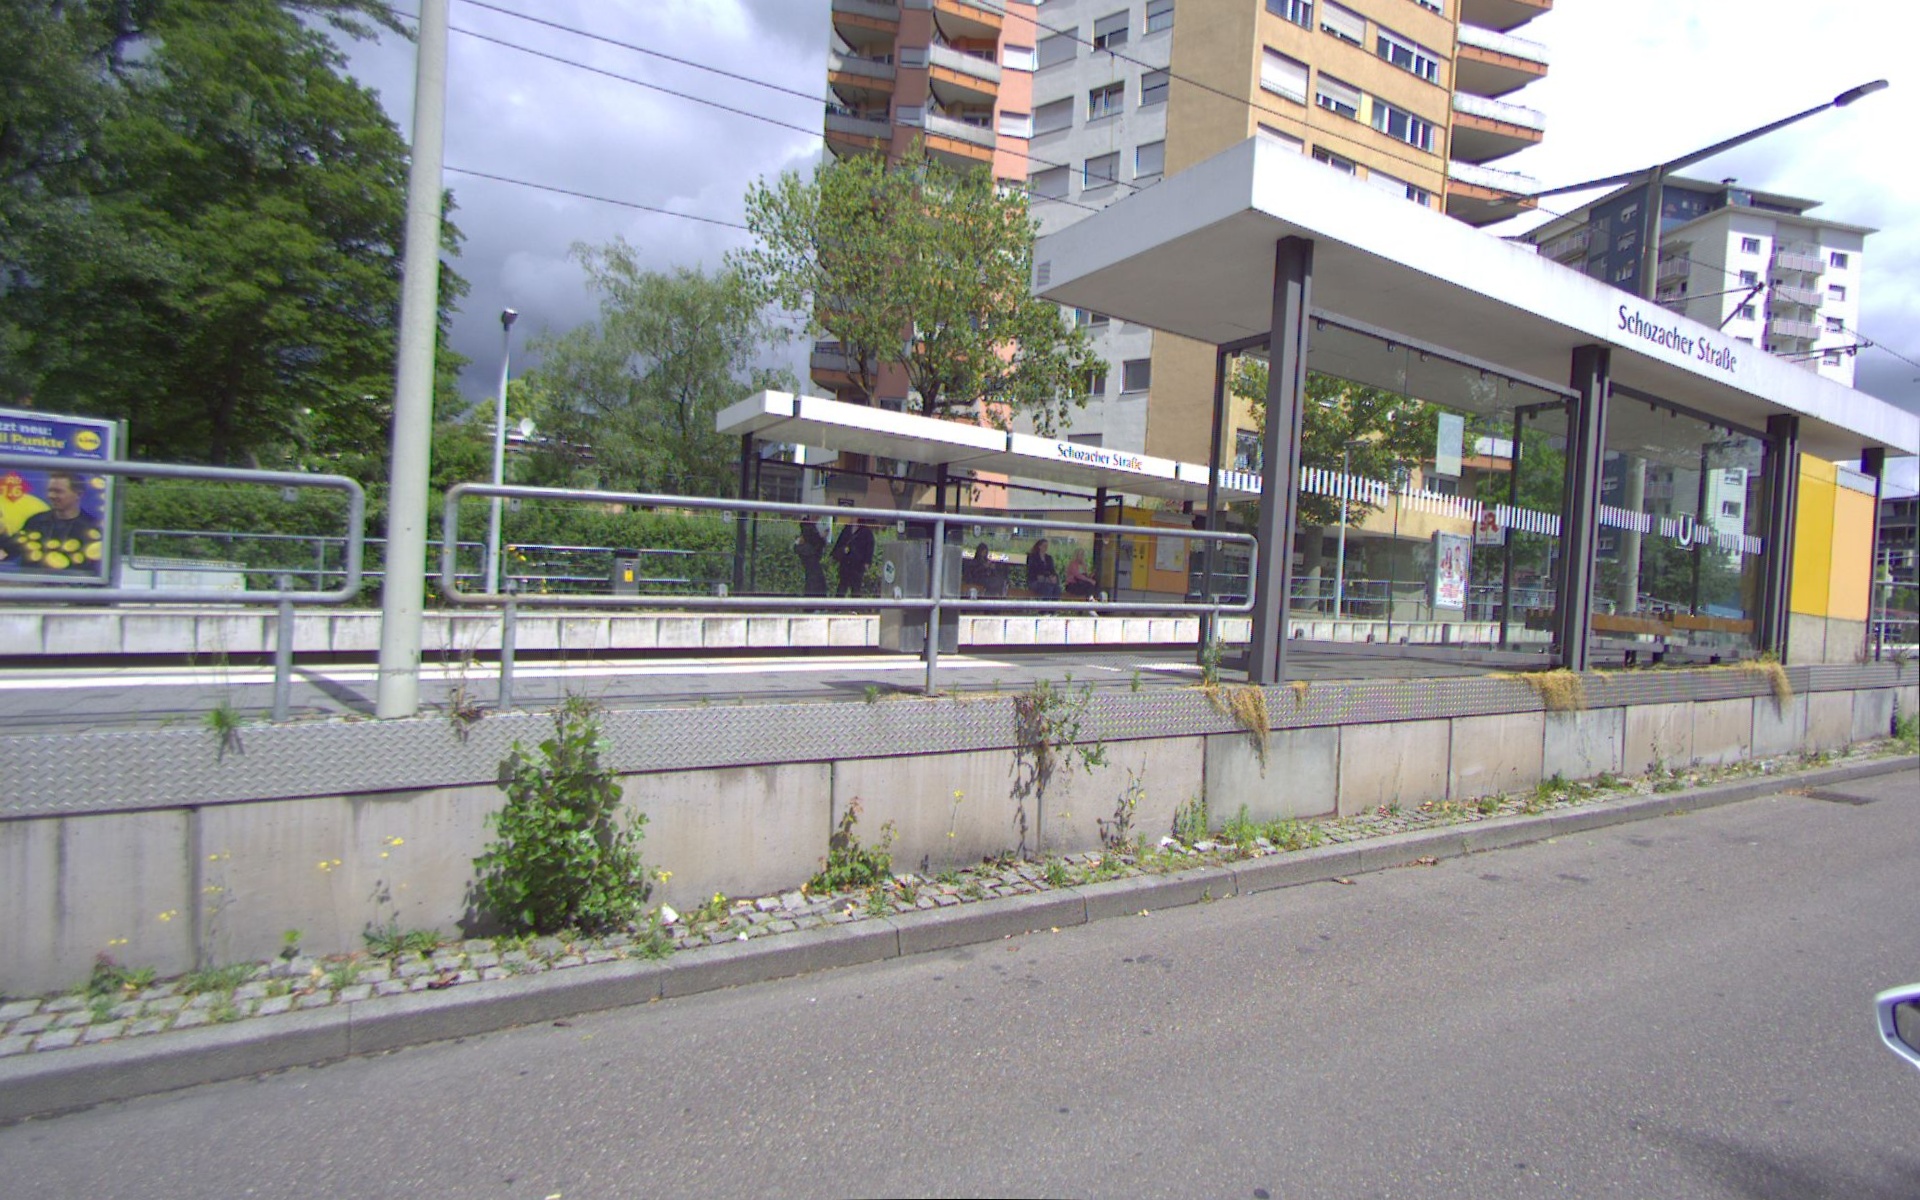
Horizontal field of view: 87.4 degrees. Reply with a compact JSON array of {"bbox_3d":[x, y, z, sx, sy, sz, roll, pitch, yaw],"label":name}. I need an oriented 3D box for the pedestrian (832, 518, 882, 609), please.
[{"bbox_3d":[-1.660,-0.576,16.226,0.517,1.397,0.537,4,-2,-39],"label":"pedestrian"}]

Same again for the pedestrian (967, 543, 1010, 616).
[{"bbox_3d":[0.497,-0.345,17.649,0.539,1.253,0.515,1,0,-42],"label":"pedestrian"}]

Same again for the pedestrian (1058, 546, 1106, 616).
[{"bbox_3d":[2.233,-0.339,18.423,0.511,1.253,0.739,1,0,-30],"label":"pedestrian"}]

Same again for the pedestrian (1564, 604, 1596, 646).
[{"bbox_3d":[25.610,1.021,41.505,0.677,1.719,0.858,1,0,-12],"label":"pedestrian"}]

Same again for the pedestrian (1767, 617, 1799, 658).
[{"bbox_3d":[27.683,1.253,33.793,0.677,1.360,0.859,1,1,29],"label":"pedestrian"}]

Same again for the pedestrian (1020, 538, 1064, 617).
[{"bbox_3d":[1.486,-0.400,18.212,0.501,1.387,0.640,1,0,-30],"label":"pedestrian"}]

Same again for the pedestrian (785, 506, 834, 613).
[{"bbox_3d":[-2.406,-0.633,16.066,0.512,1.666,0.564,1,0,27],"label":"pedestrian"}]
